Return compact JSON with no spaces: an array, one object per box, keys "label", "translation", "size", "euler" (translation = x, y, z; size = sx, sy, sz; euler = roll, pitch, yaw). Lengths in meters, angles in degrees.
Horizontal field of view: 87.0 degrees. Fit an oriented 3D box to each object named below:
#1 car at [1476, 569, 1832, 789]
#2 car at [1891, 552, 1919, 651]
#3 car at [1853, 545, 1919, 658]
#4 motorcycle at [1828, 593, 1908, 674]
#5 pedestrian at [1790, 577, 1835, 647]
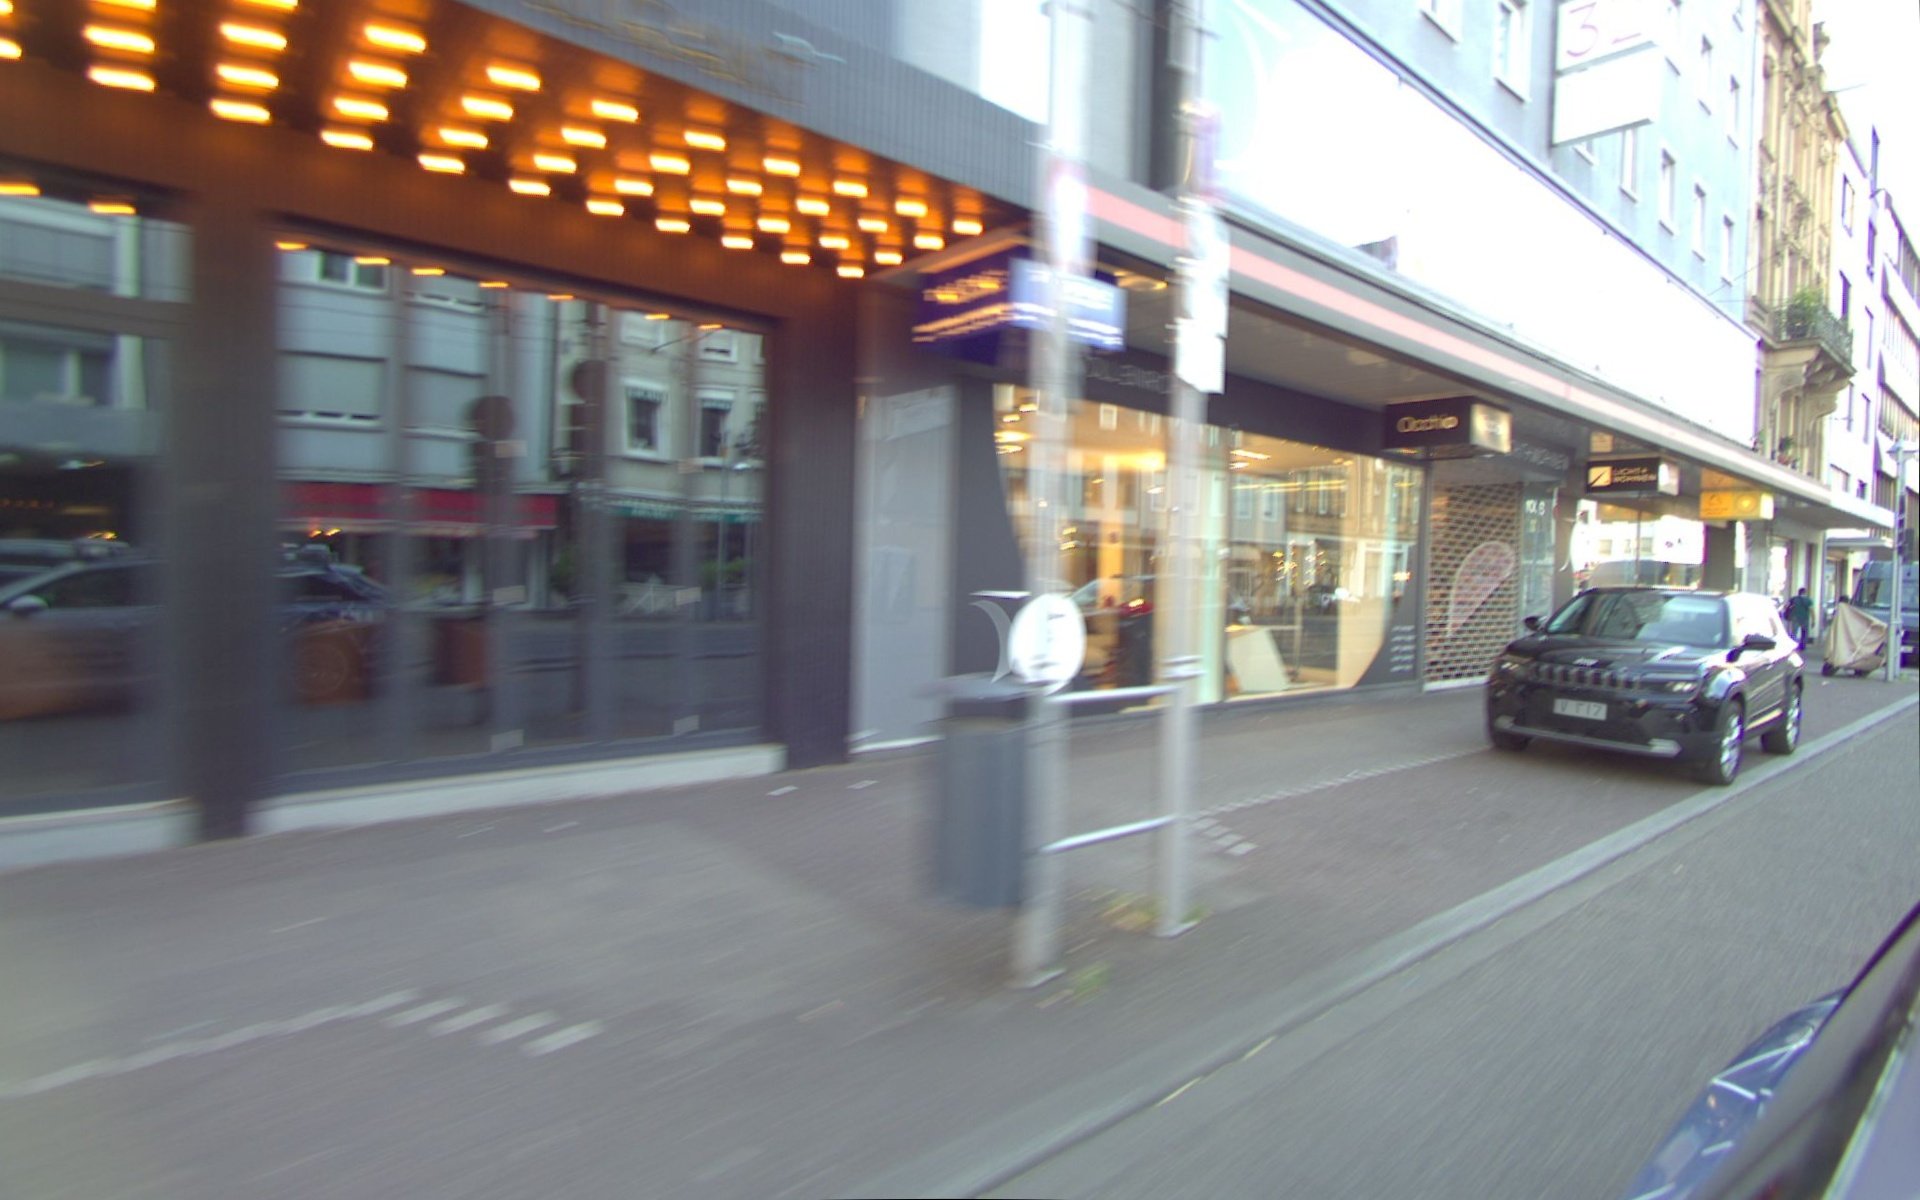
[{"label":"car","translation":[6.408,0.524,9.186],"size":[3.897,1.560,1.743],"euler":[-1,2,-41]},{"label":"car","translation":[27.752,0.015,28.228],"size":[5.506,2.606,1.997],"euler":[-1,0,-41]},{"label":"car","translation":[23.081,0.009,24.144],"size":[5.509,2.479,2.077],"euler":[0,0,-42]},{"label":"motorcycle","translation":[17.426,0.606,19.403],"size":[2.591,1.421,0.784],"euler":[0,3,-41]},{"label":"pedestrian","translation":[22.655,0.306,26.897],"size":[0.776,1.777,0.742],"euler":[0,4,-44]}]
